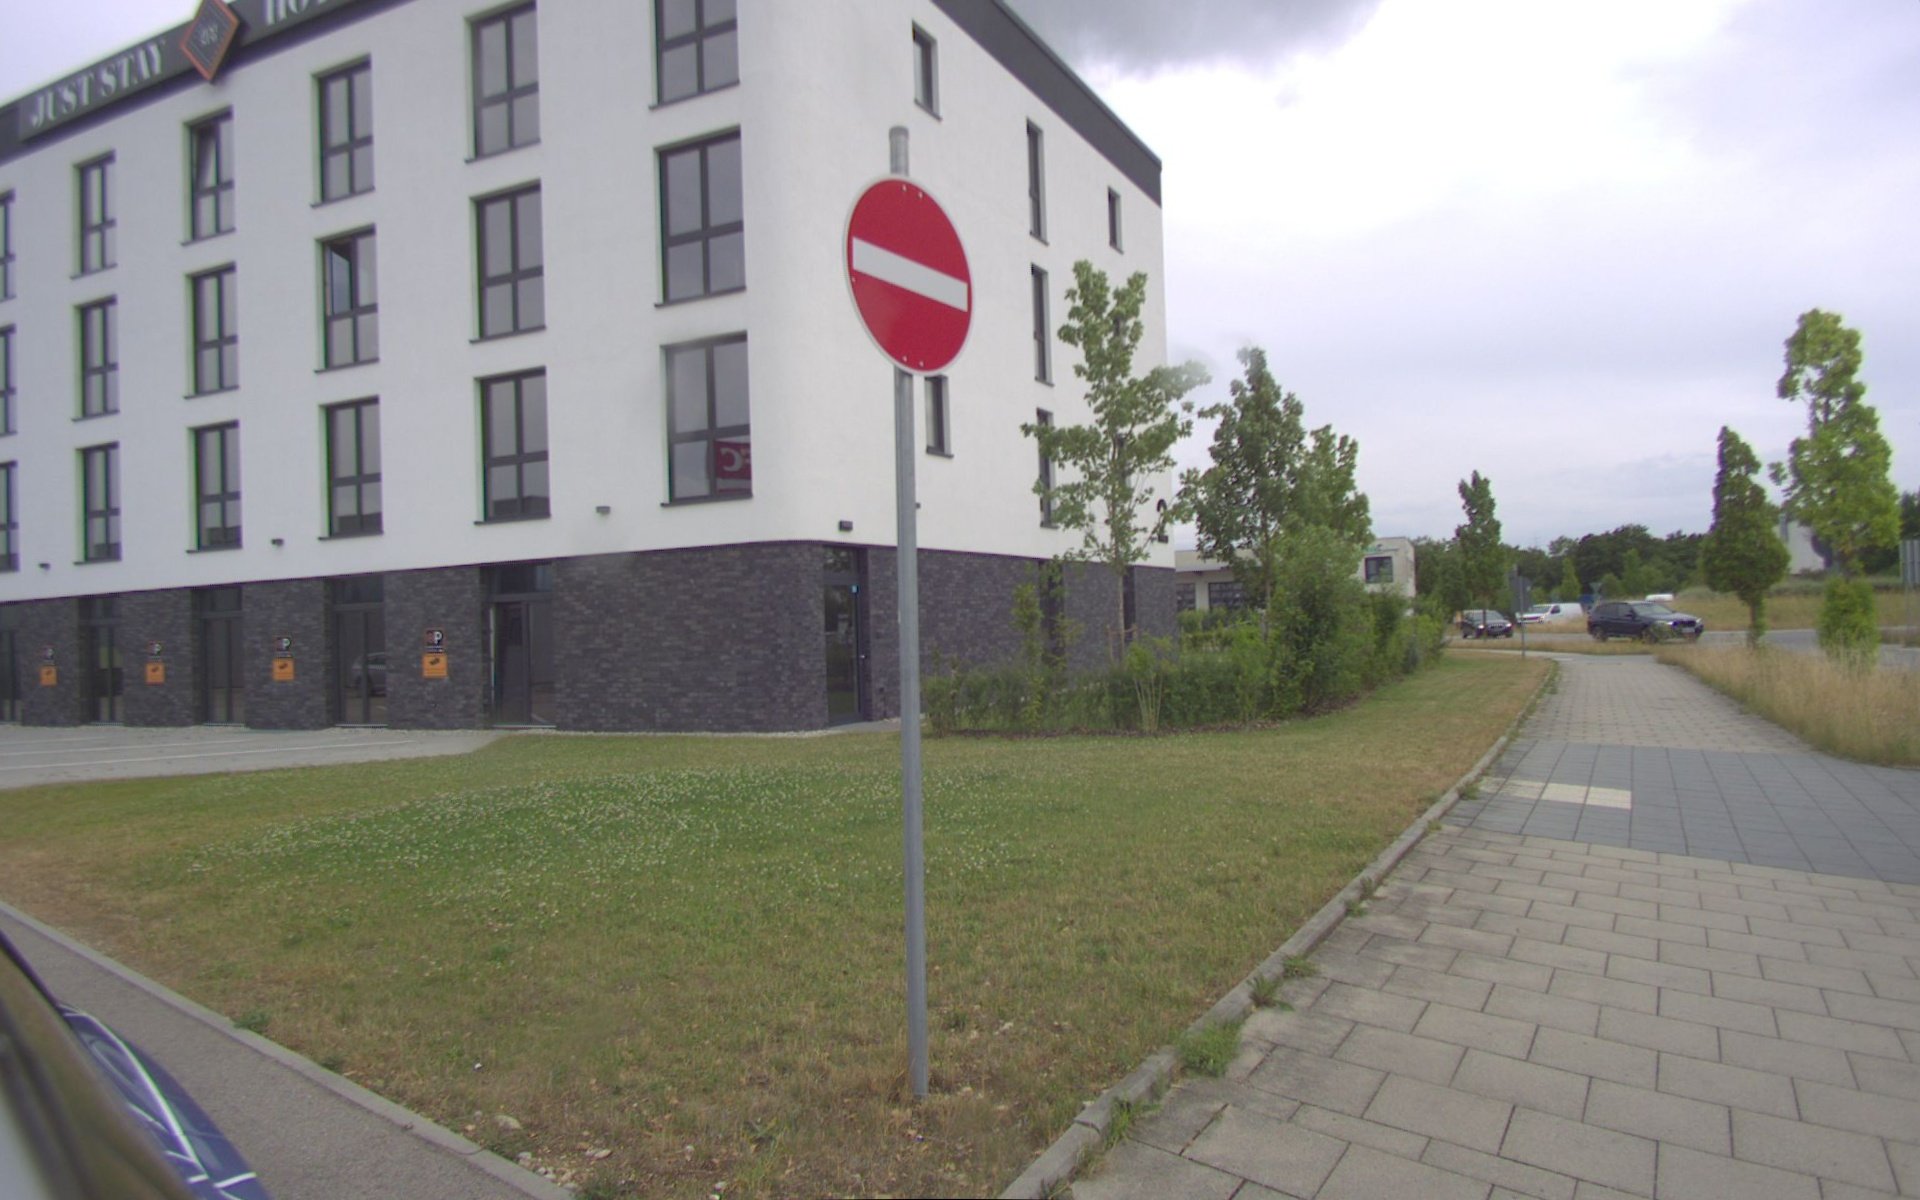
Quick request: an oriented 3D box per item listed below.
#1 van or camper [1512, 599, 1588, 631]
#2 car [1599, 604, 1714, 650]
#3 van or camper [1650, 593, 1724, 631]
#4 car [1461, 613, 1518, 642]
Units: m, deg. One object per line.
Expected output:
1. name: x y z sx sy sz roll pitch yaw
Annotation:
1. van or camper: 39.116 0.977 67.092 4.758 1.905 1.990 -1 -2 -27
2. car: 27.539 1.060 40.179 1.870 1.652 3.996 -2 -1 3
3. van or camper: 53.829 0.852 74.908 5.372 2.601 2.006 -2 -1 -26
4. car: 27.287 1.419 52.287 1.542 1.364 3.284 -2 -2 9
